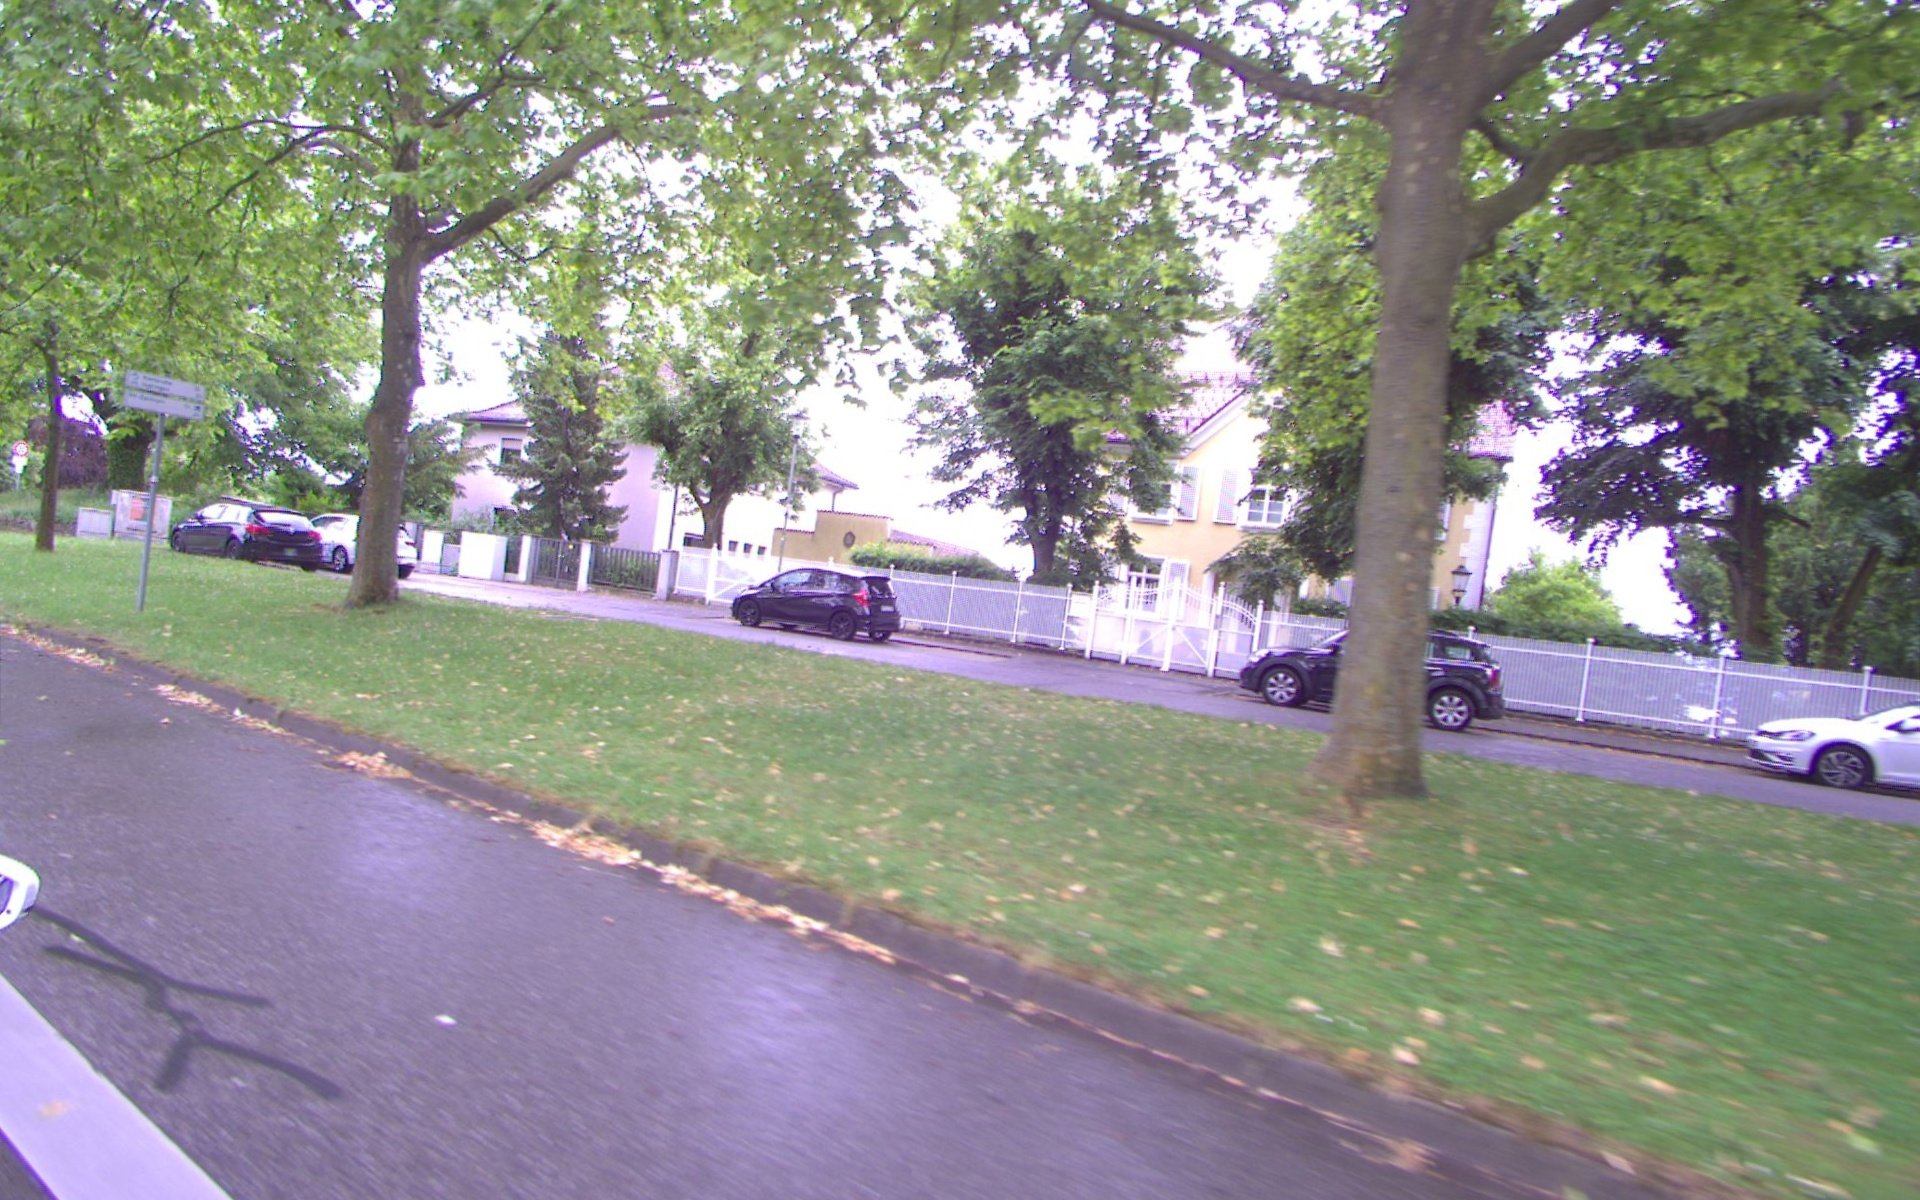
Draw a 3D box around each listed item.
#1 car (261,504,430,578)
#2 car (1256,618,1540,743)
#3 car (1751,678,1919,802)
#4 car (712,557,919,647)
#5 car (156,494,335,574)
[{"bbox_3d":[-16.139,-1.552,26.374,4.350,1.490,1.847,6,1,30],"label":"car"},{"bbox_3d":[7.358,1.327,17.065,4.052,1.488,1.999,6,-2,27],"label":"car"},{"bbox_3d":[13.815,2.106,13.926,4.052,1.465,1.999,6,-2,27],"label":"car"},{"bbox_3d":[-3.295,0.032,22.817,4.281,1.488,1.765,6,-2,27],"label":"car"},{"bbox_3d":[-17.179,-1.607,24.129,4.521,1.490,1.765,6,1,30],"label":"car"}]
